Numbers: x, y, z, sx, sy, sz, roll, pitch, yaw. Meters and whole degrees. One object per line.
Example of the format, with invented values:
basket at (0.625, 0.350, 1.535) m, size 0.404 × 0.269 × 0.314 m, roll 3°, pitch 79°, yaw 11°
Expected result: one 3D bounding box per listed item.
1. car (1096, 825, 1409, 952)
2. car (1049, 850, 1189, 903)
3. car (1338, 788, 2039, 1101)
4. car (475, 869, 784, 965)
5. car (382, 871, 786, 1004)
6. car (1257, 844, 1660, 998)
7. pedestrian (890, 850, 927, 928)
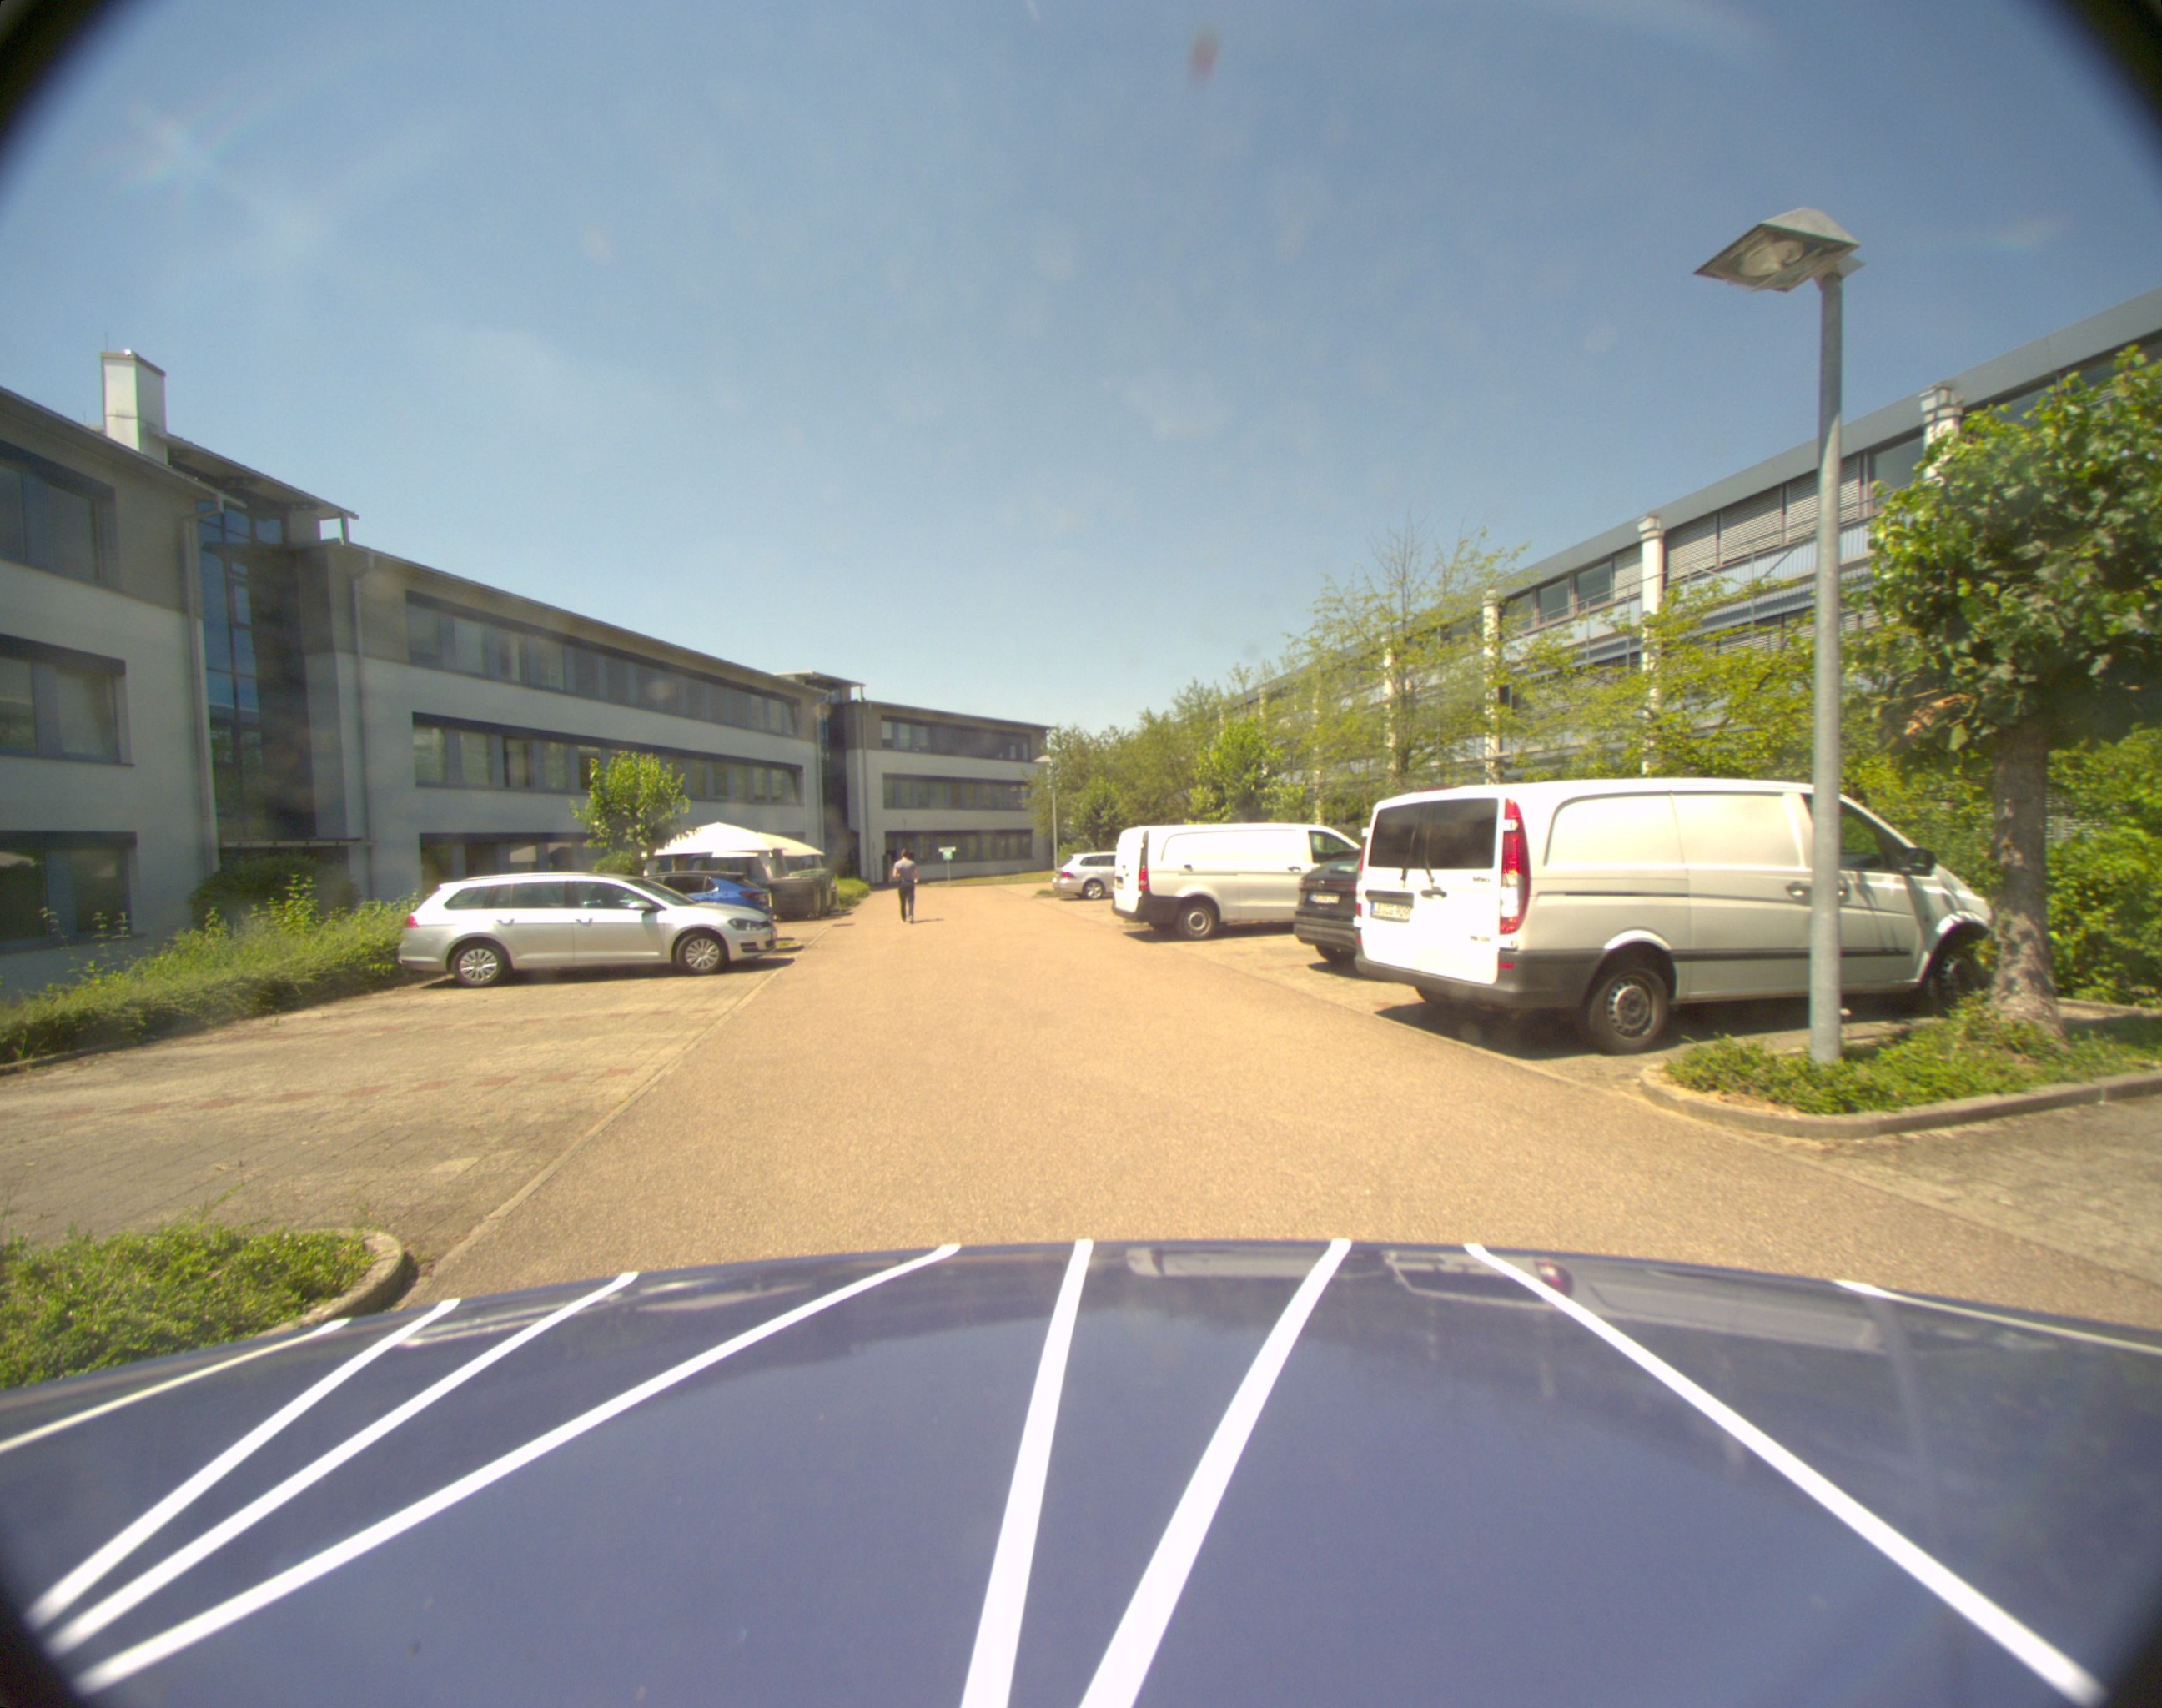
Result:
car at (2.888, 0.517, 13.207) m, size 4.936 × 1.845 × 1.855 m, roll -2°, pitch 1°, yaw -11°
car at (1.141, 0.672, 23.906) m, size 4.085 × 1.475 × 1.738 m, roll -2°, pitch 1°, yaw -10°
car at (4.685, 0.507, 6.064) m, size 4.679 × 1.849 × 1.866 m, roll -2°, pitch 1°, yaw -13°
car at (-8.197, 1.099, 14.283) m, size 4.614 × 1.485 × 1.854 m, roll -1°, pitch 0°, yaw -13°
car at (-6.745, 1.076, 10.883) m, size 4.429 × 1.511 × 1.854 m, roll -1°, pitch 0°, yaw -13°
car at (4.464, 0.689, 9.165) m, size 4.199 × 1.475 × 1.737 m, roll -2°, pitch 1°, yaw -13°
pedestrian at (-4.017, 0.801, 17.731) m, size 0.698 × 1.747 × 0.776 m, roll -3°, pitch 2°, yaw -10°
